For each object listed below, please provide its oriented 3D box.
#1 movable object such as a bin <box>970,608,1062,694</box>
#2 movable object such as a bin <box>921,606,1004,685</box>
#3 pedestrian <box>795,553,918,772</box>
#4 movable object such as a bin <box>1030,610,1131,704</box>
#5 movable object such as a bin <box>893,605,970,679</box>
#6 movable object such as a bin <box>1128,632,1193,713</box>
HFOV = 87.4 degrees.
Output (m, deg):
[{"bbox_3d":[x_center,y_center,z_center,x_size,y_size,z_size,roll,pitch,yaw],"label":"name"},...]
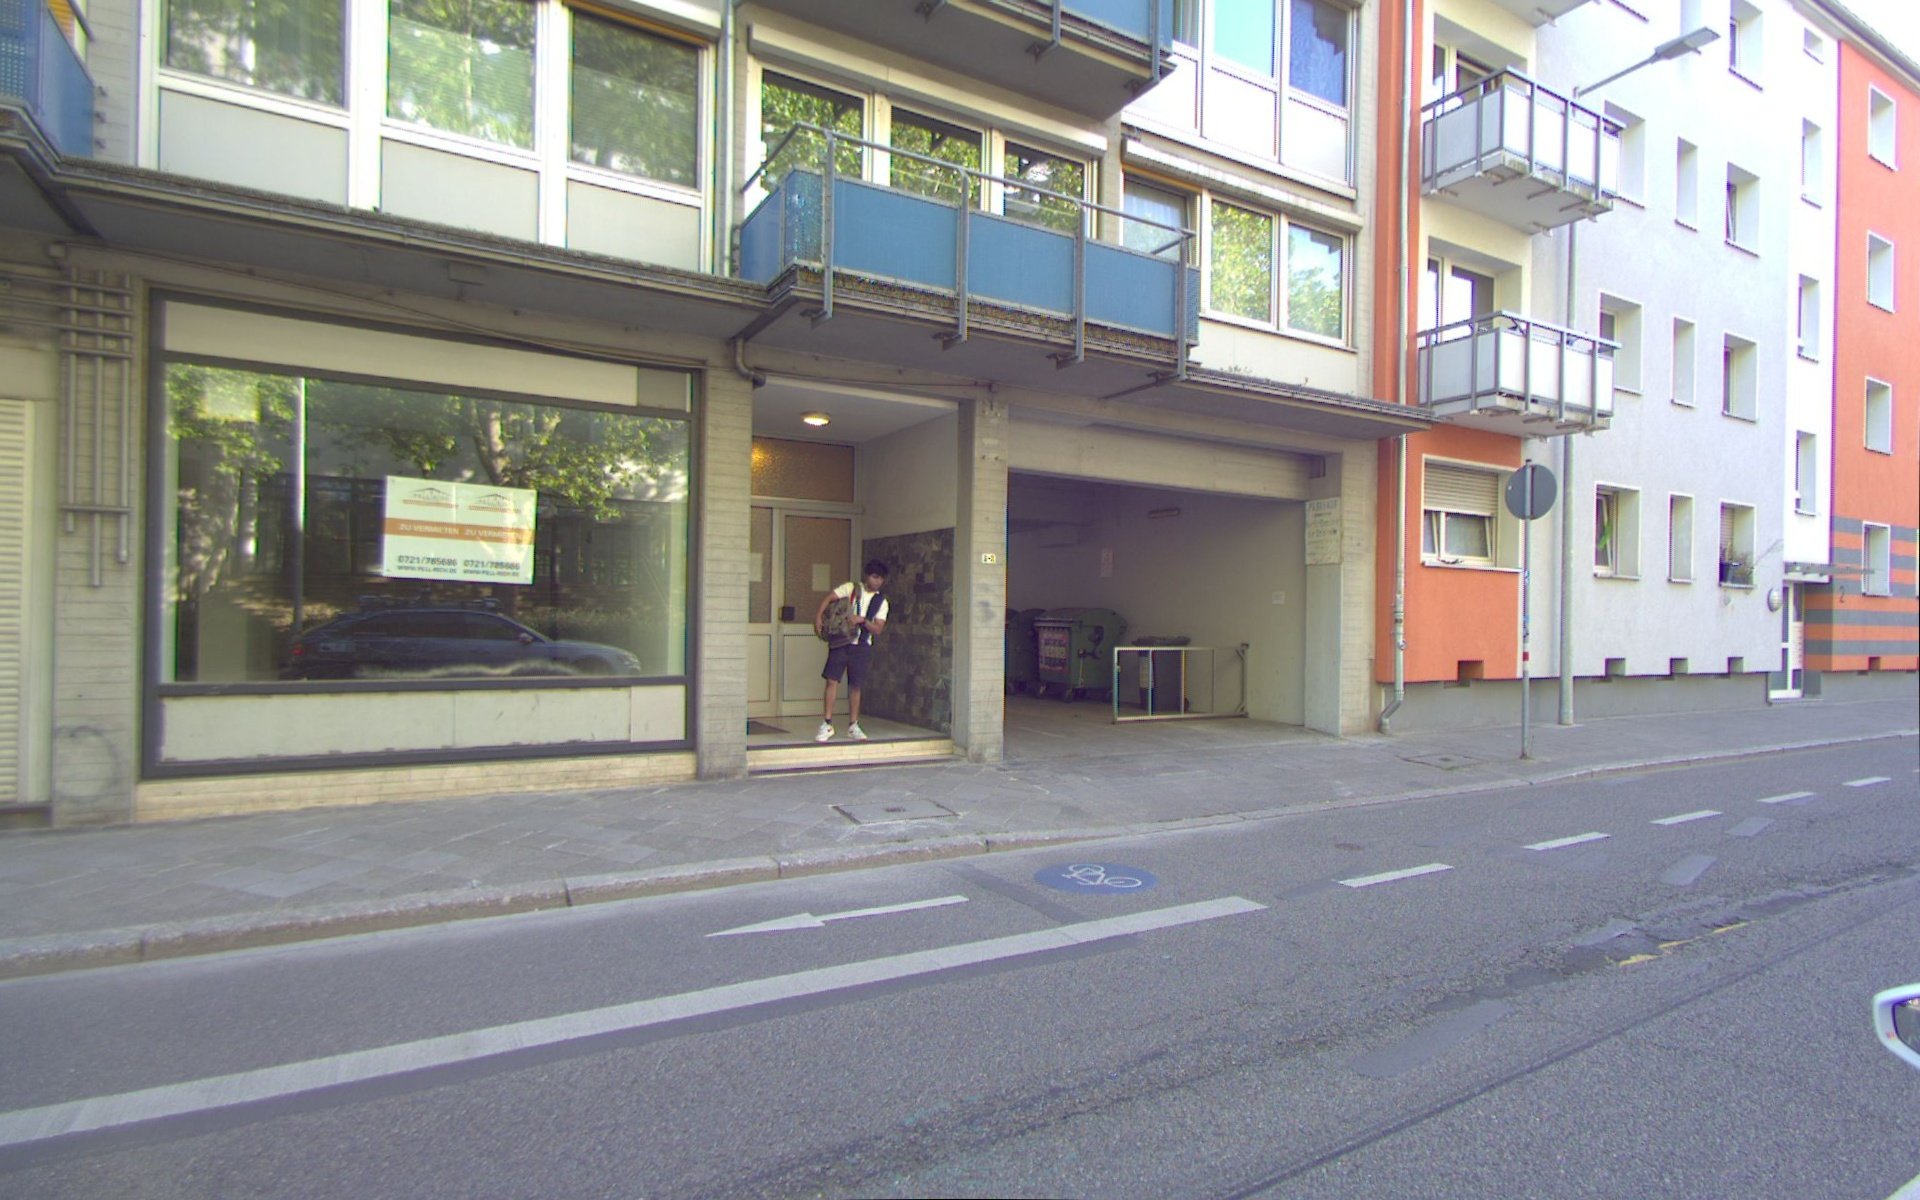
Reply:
[{"bbox_3d":[0.939,0.847,17.120,1.066,1.384,1.255,2,0,-27],"label":"movable object such as a bin"},{"bbox_3d":[0.028,0.827,18.689,1.066,1.384,1.255,2,0,-27],"label":"movable object such as a bin"},{"bbox_3d":[-0.956,0.553,9.248,0.882,1.902,0.703,2,0,-28],"label":"pedestrian"},{"bbox_3d":[1.881,0.869,15.806,1.066,1.384,1.192,2,0,-27],"label":"movable object such as a bin"},{"bbox_3d":[-0.580,0.814,19.858,1.066,1.384,1.255,2,0,-27],"label":"movable object such as a bin"},{"bbox_3d":[2.882,1.027,14.455,0.650,1.115,0.626,2,0,-27],"label":"movable object such as a bin"}]
